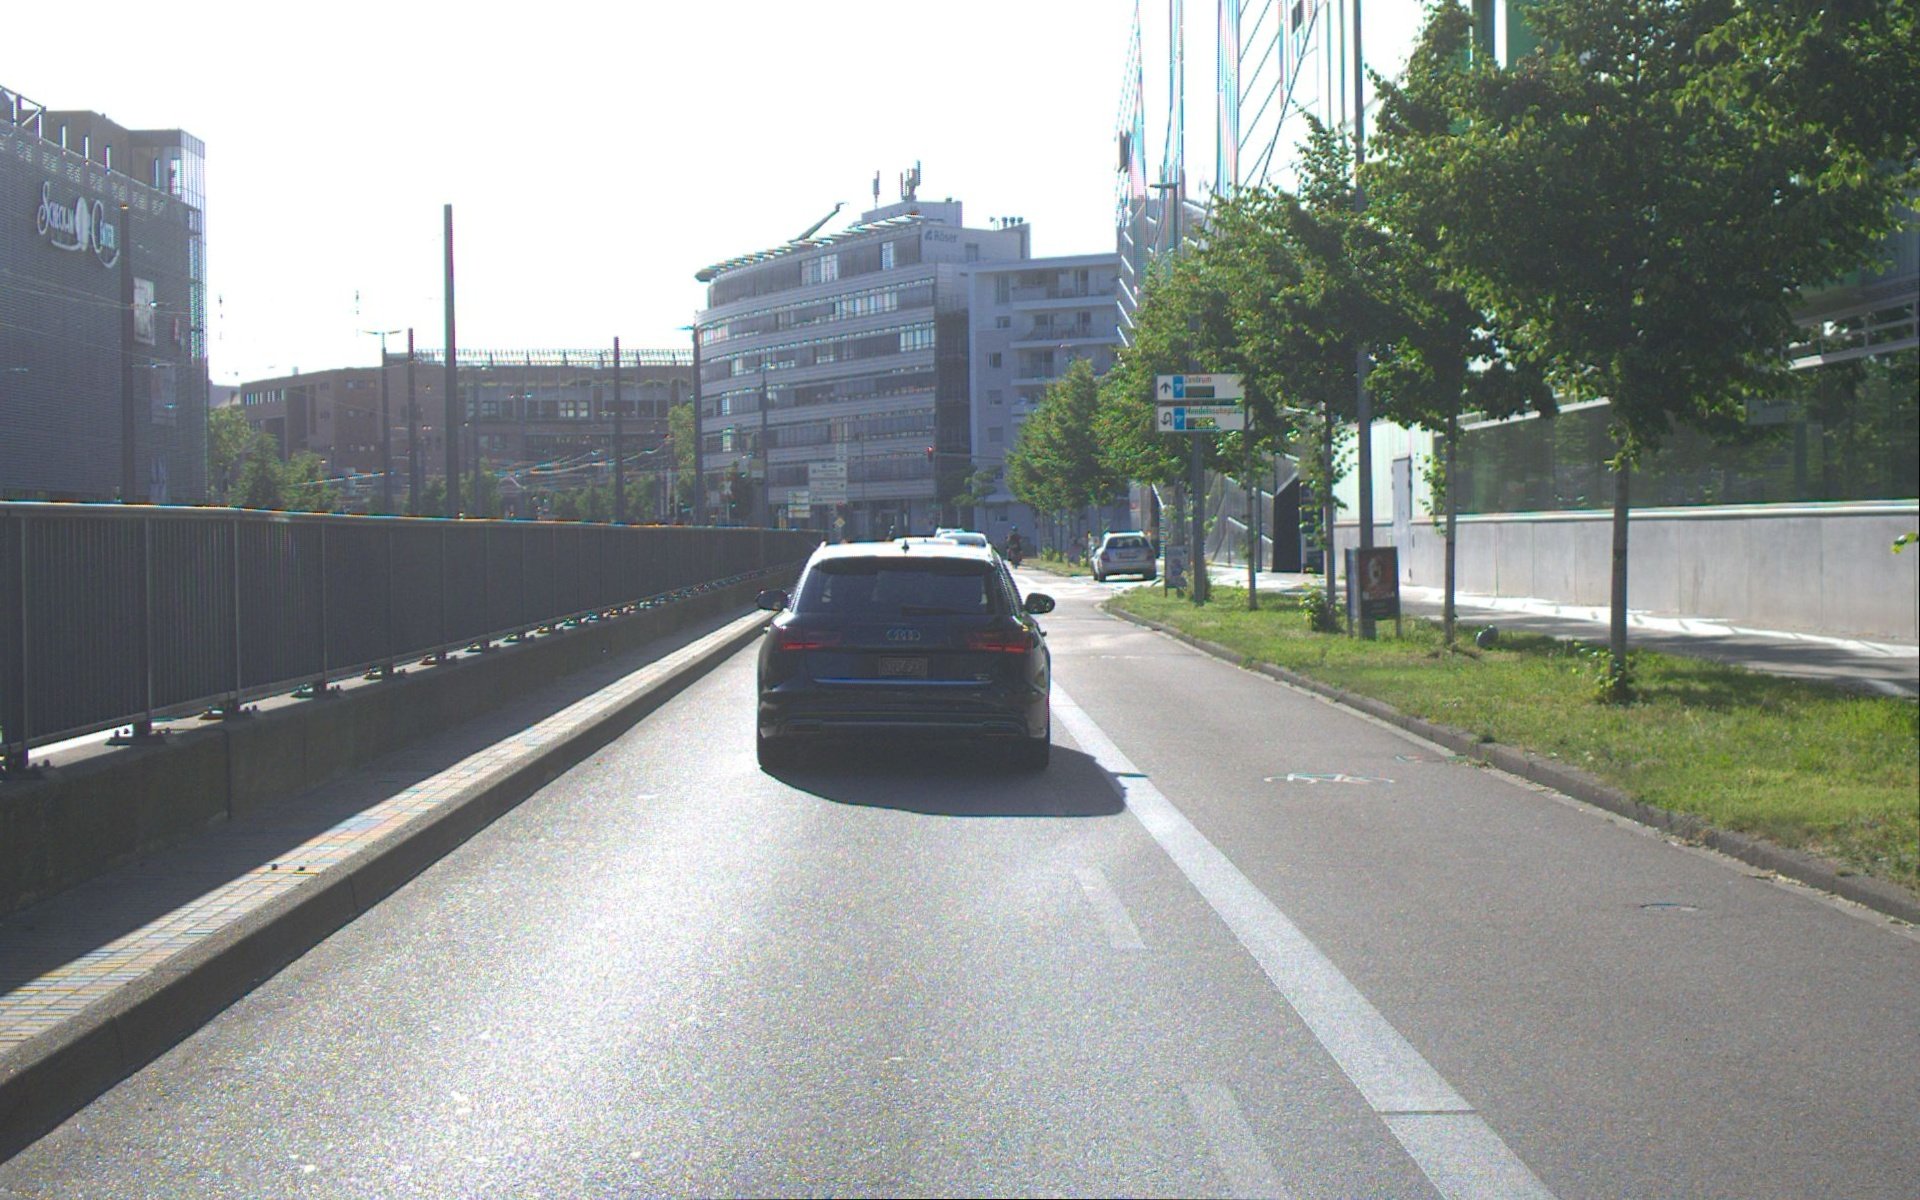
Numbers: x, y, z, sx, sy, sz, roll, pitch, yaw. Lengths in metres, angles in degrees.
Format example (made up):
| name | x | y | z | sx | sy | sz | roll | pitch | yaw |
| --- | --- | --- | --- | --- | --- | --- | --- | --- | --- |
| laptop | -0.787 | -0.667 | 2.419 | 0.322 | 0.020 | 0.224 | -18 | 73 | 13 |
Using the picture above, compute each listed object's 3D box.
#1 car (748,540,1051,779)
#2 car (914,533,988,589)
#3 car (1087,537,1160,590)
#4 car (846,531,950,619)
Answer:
| name | x | y | z | sx | sy | sz | roll | pitch | yaw |
| --- | --- | --- | --- | --- | --- | --- | --- | --- | --- |
| car | -0.423 | 0.326 | 23.033 | 1.812 | 1.422 | 4.690 | -1 | 1 | -1 |
| car | -0.247 | -1.099 | 95.583 | 1.993 | 1.460 | 4.001 | 1 | 2 | 0 |
| car | 5.009 | -1.135 | 105.635 | 1.852 | 1.476 | 4.854 | -2 | 1 | -1 |
| car | -1.167 | -0.493 | 64.112 | 1.852 | 1.541 | 4.001 | 1 | 1 | -1 |
